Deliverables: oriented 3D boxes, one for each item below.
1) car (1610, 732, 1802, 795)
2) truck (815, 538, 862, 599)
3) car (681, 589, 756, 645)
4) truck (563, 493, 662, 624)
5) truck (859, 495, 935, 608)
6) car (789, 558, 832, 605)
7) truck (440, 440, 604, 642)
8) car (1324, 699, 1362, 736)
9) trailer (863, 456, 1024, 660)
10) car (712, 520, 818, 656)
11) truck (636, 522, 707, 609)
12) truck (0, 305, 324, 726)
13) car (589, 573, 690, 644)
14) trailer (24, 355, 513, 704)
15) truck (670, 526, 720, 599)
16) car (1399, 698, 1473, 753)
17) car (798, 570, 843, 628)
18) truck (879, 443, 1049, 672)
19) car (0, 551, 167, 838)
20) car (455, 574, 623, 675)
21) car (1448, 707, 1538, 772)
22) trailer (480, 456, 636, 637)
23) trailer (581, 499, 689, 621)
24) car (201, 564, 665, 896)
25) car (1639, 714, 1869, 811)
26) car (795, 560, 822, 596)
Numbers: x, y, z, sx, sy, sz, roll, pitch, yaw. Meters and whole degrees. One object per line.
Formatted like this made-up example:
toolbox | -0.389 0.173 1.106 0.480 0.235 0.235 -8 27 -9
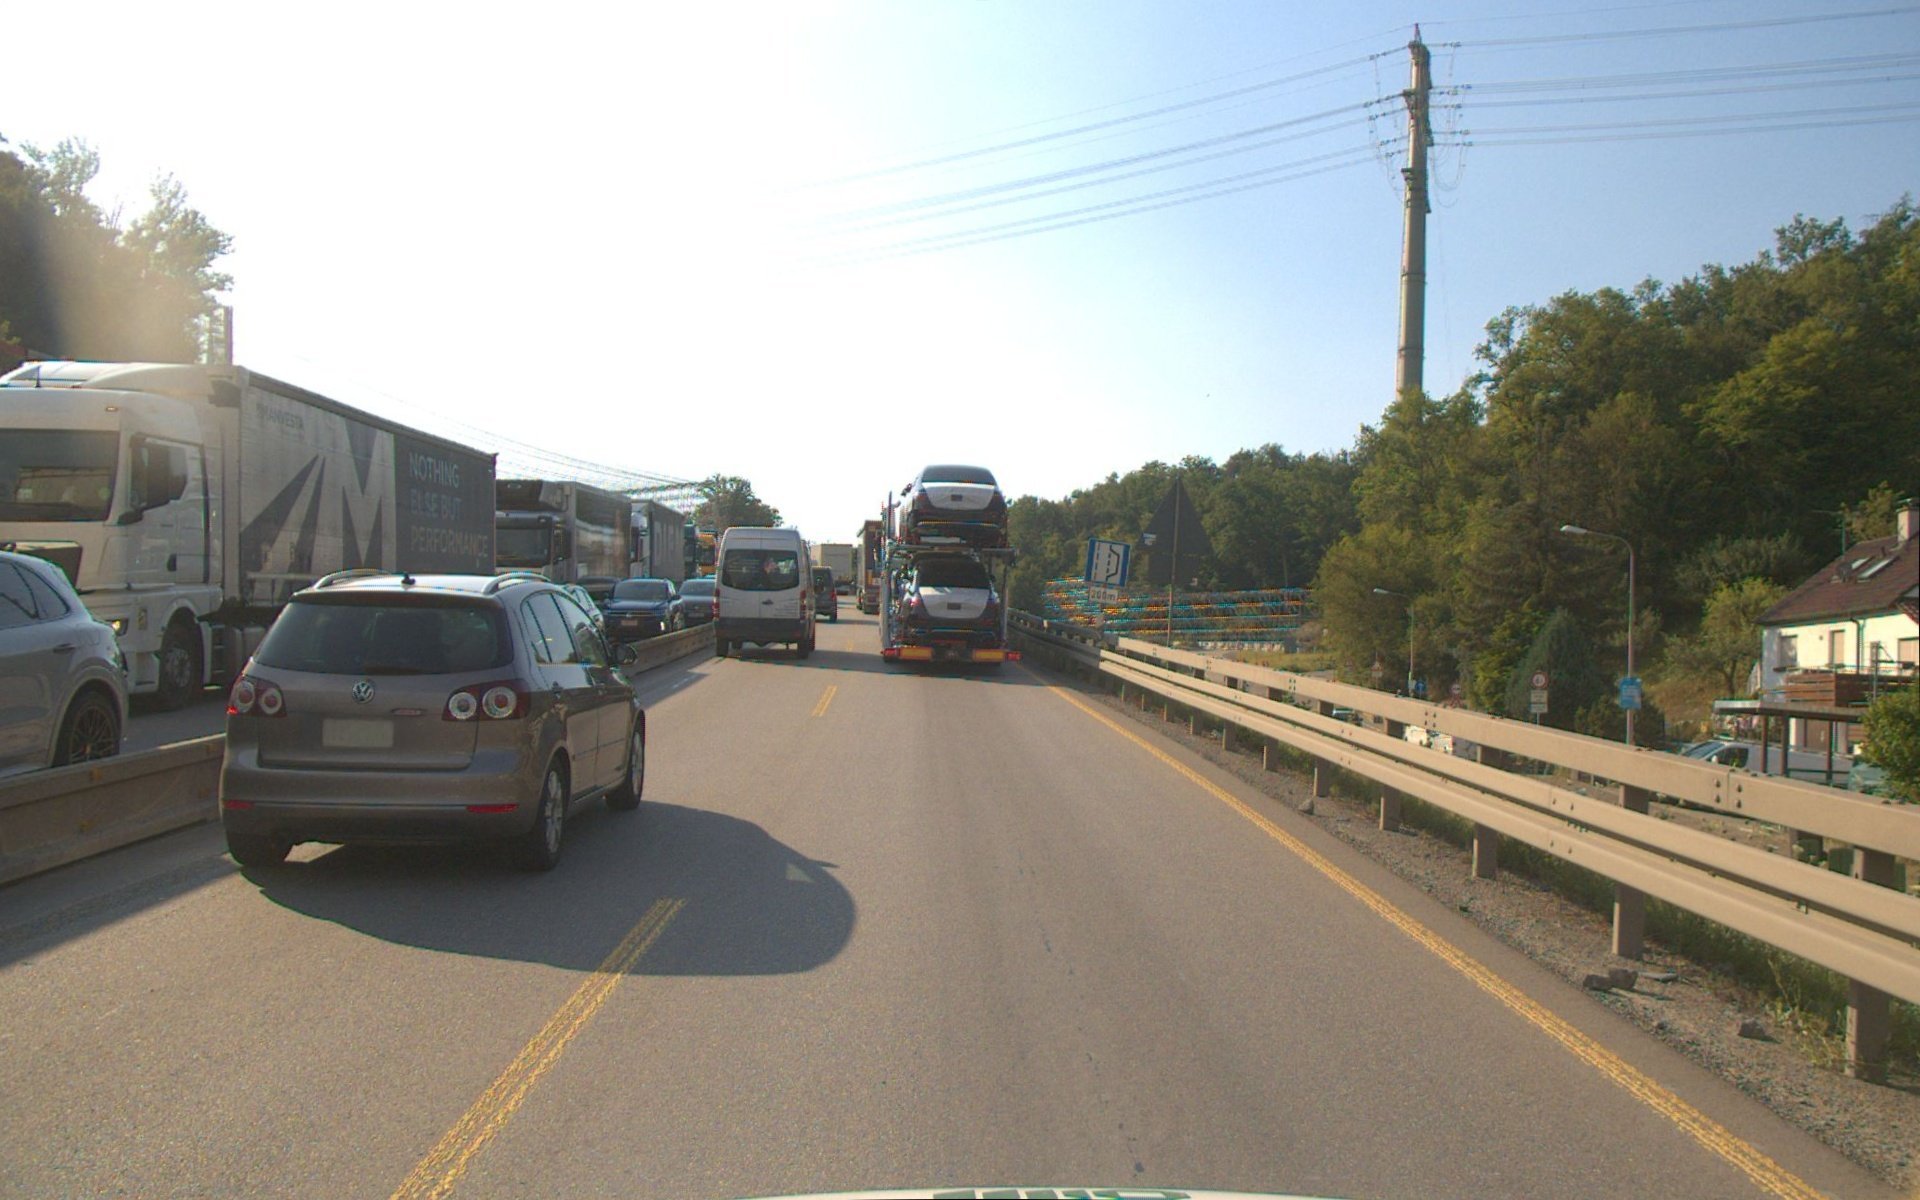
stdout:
car | 22.383 4.894 49.744 4.984 1.584 1.716 2 -1 3
truck | -10.007 -2.635 137.216 3.576 4.758 11.689 1 1 -3
car | -7.676 0.549 52.947 1.825 1.614 4.743 4 -1 -3
truck | -11.541 -1.359 55.301 2.696 4.187 5.025 0 0 -6
truck | -3.044 -2.195 76.462 3.164 4.758 11.688 1 1 -4
car | -6.590 -0.777 73.239 1.797 1.998 4.894 1 0 -5
truck | -10.677 -1.366 40.792 2.862 4.593 5.024 1 0 -4
car | 18.546 5.658 80.191 1.493 1.486 4.271 0 0 10
trailer | -0.773 -0.827 40.778 2.818 4.063 15.263 0 0 -5
car | -4.098 -0.238 35.322 1.940 2.731 4.144 0 0 -3
truck | -13.339 -1.562 77.027 2.696 3.872 7.103 0 0 -6
truck | -10.084 -0.863 19.841 2.709 4.277 6.112 0 0 -2
car | -7.742 0.213 40.360 1.731 1.578 4.476 2 -1 -3
trailer | -10.369 -0.857 27.283 2.720 4.277 13.827 0 0 -2
truck | -15.726 -2.171 98.386 2.650 4.213 5.785 0 0 -7
car | 19.329 5.061 67.361 1.823 2.021 5.053 0 -2 3
car | -5.220 -0.016 62.334 1.498 2.049 3.997 3 -1 -4
truck | -0.063 -0.750 32.275 2.814 4.049 5.765 0 0 -5
car | -6.567 0.500 9.175 1.967 1.684 4.972 3 0 -2
car | -6.929 0.403 27.709 1.739 1.482 4.812 2 -1 -3
car | 18.312 4.772 57.036 1.953 1.951 4.866 0 -2 6
trailer | -10.972 -1.380 45.843 2.853 4.543 7.147 1 0 -4
trailer | -12.203 -1.427 63.152 2.662 4.194 12.480 0 1 -5
car | -2.942 0.643 10.170 1.667 1.615 4.145 0 0 -3
car | 21.926 4.477 45.826 5.352 2.303 2.000 2 -1 3
car | -9.382 -1.338 102.405 1.498 2.049 3.996 3 0 -5
